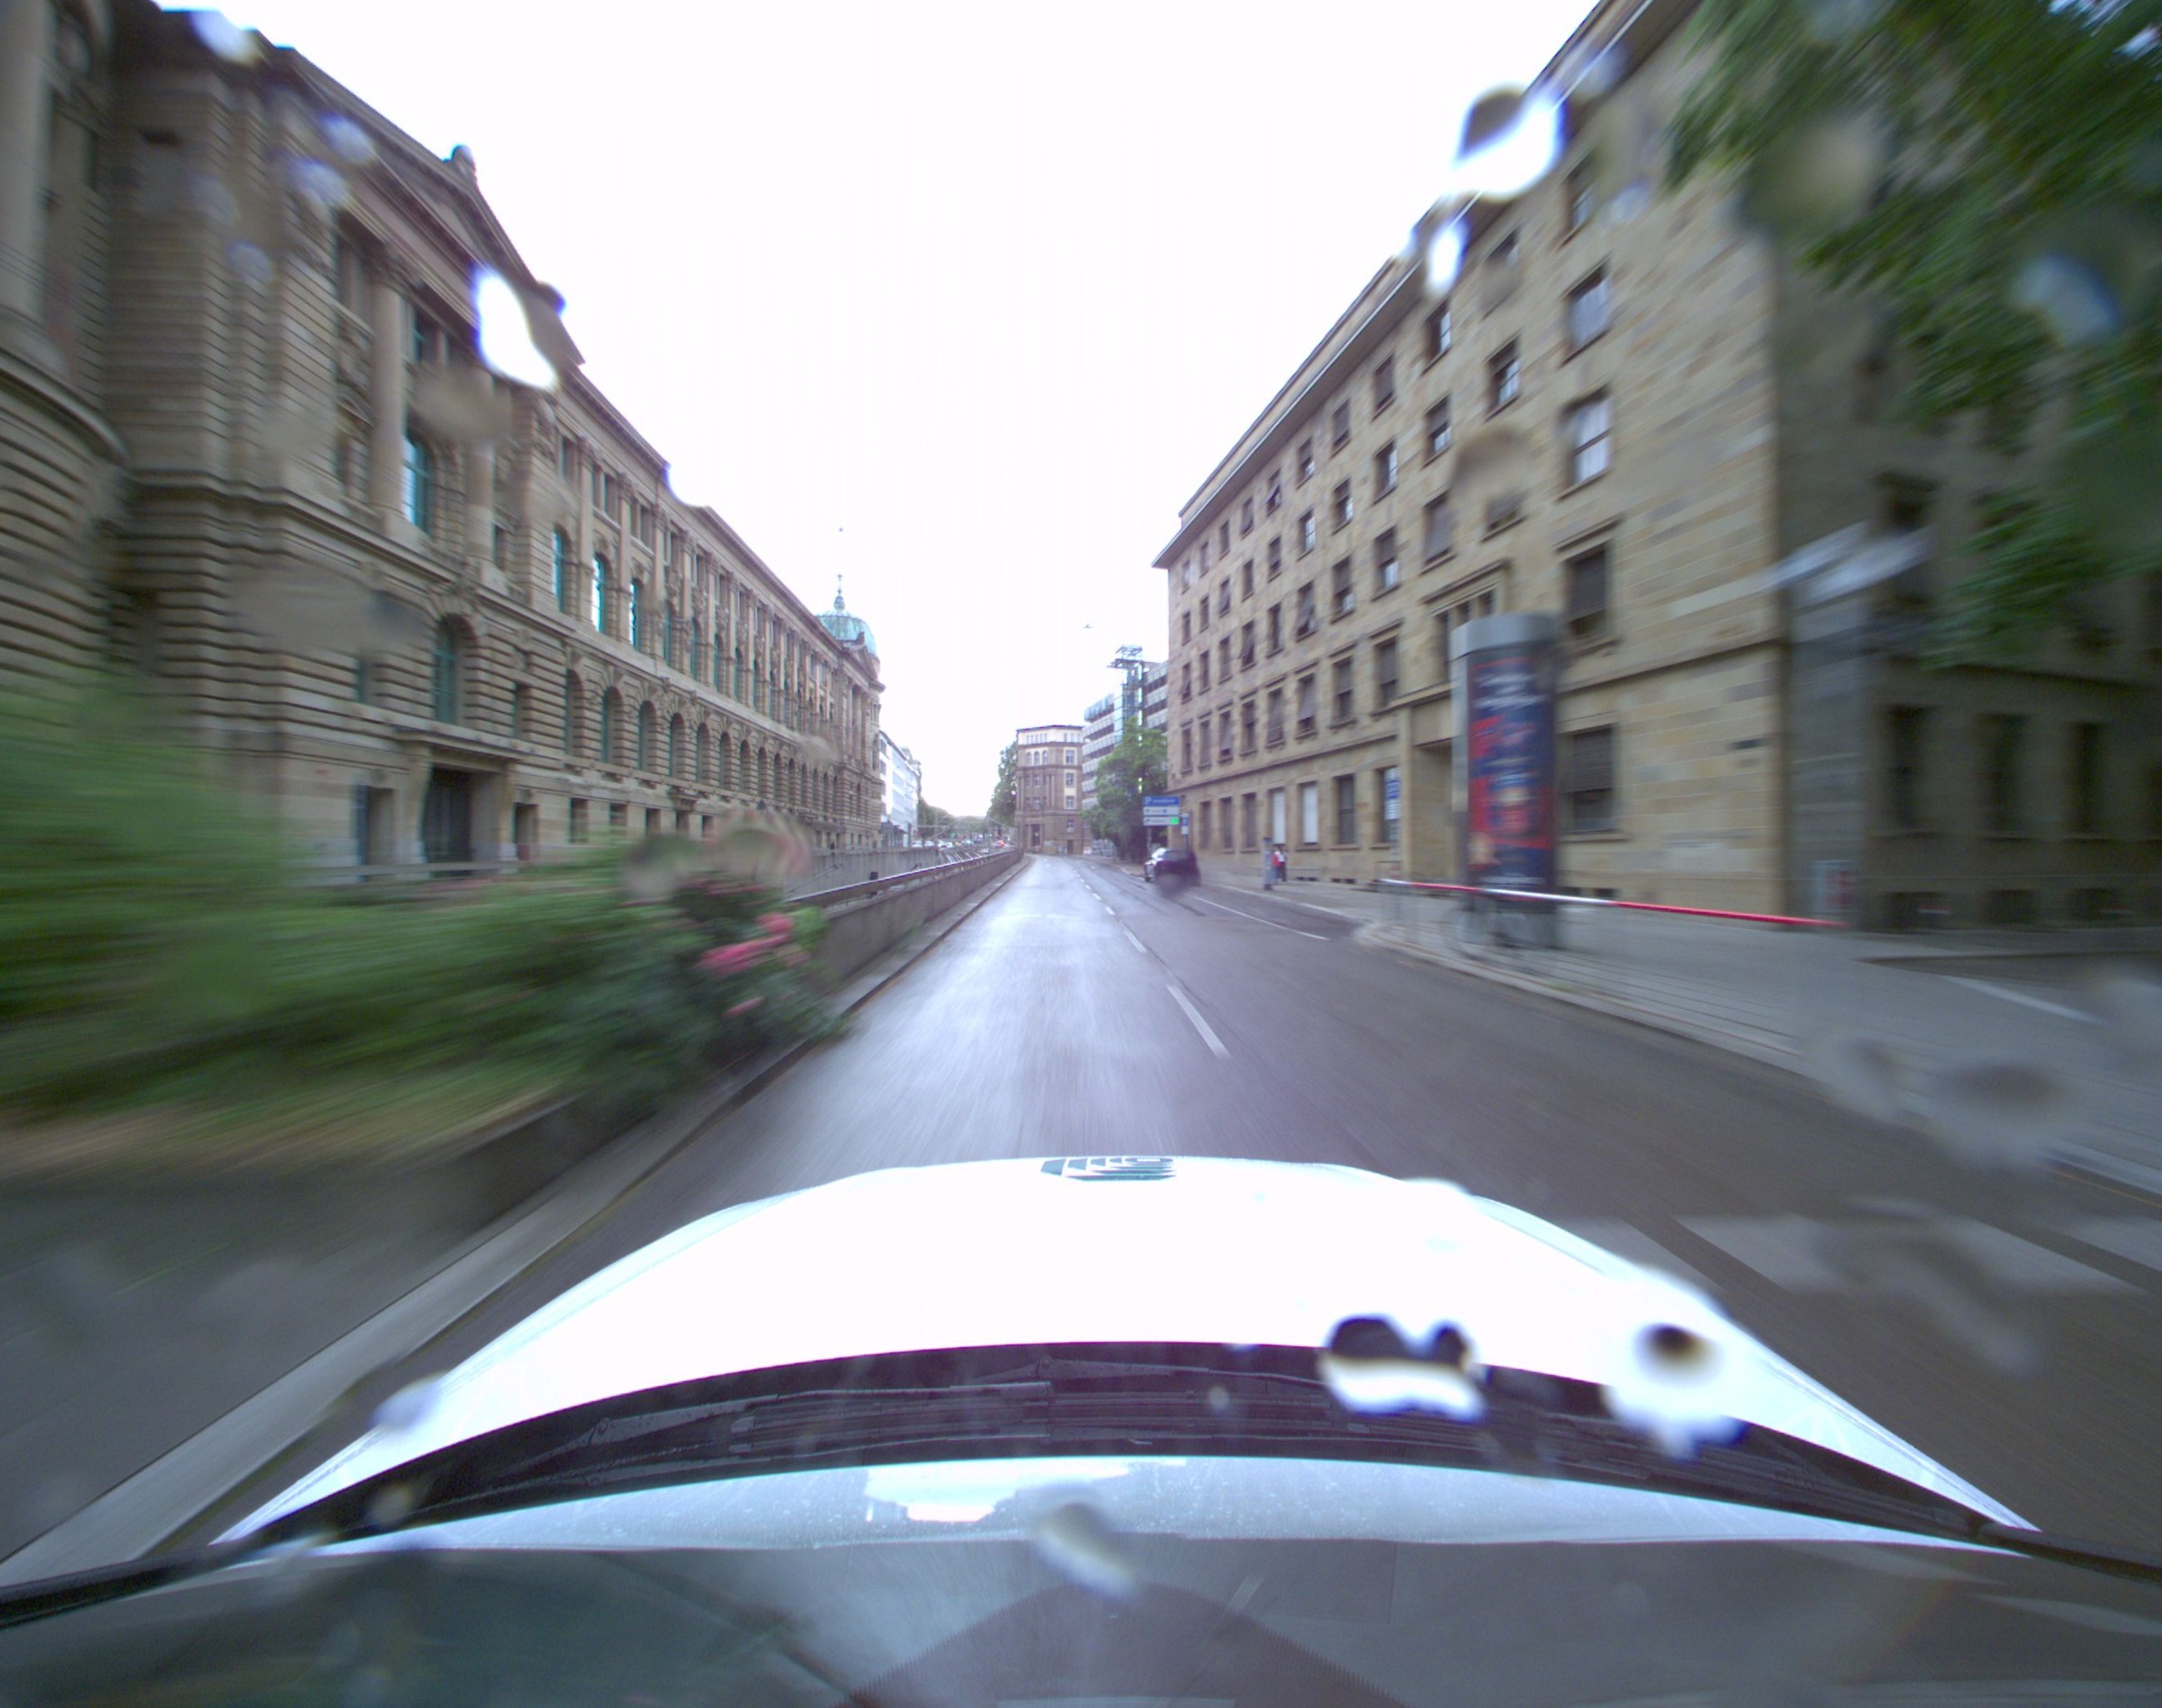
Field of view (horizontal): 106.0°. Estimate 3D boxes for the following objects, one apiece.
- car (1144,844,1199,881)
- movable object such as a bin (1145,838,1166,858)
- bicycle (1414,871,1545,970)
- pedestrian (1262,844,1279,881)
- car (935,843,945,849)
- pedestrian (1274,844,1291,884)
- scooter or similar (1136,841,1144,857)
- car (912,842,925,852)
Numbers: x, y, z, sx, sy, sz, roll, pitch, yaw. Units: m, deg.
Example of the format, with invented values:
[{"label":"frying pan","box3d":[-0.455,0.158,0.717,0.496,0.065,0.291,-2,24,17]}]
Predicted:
[{"label":"car","box3d":[4.093,0.361,37.547,1.765,1.619,4.150,0,0,-5]},{"label":"movable object such as a bin","box3d":[4.999,-0.413,54.973,1.236,1.310,1.233,-2,1,-2]},{"label":"bicycle","box3d":[4.712,0.743,9.775,0.488,1.012,1.924,0,0,-5]},{"label":"pedestrian","box3d":[7.742,0.333,33.223,0.523,1.492,0.673,0,0,-3]},{"label":"car","box3d":[-31.785,-1.817,183.973,1.992,1.527,3.653,1,1,-8]},{"label":"pedestrian","box3d":[8.300,0.404,33.530,0.523,1.602,0.673,0,0,-3]},{"label":"scooter or similar","box3d":[4.826,-0.384,66.391,0.446,1.259,1.210,-2,1,-3]},{"label":"car","box3d":[-30.590,-1.299,153.521,1.992,1.883,4.913,1,1,-8]}]
